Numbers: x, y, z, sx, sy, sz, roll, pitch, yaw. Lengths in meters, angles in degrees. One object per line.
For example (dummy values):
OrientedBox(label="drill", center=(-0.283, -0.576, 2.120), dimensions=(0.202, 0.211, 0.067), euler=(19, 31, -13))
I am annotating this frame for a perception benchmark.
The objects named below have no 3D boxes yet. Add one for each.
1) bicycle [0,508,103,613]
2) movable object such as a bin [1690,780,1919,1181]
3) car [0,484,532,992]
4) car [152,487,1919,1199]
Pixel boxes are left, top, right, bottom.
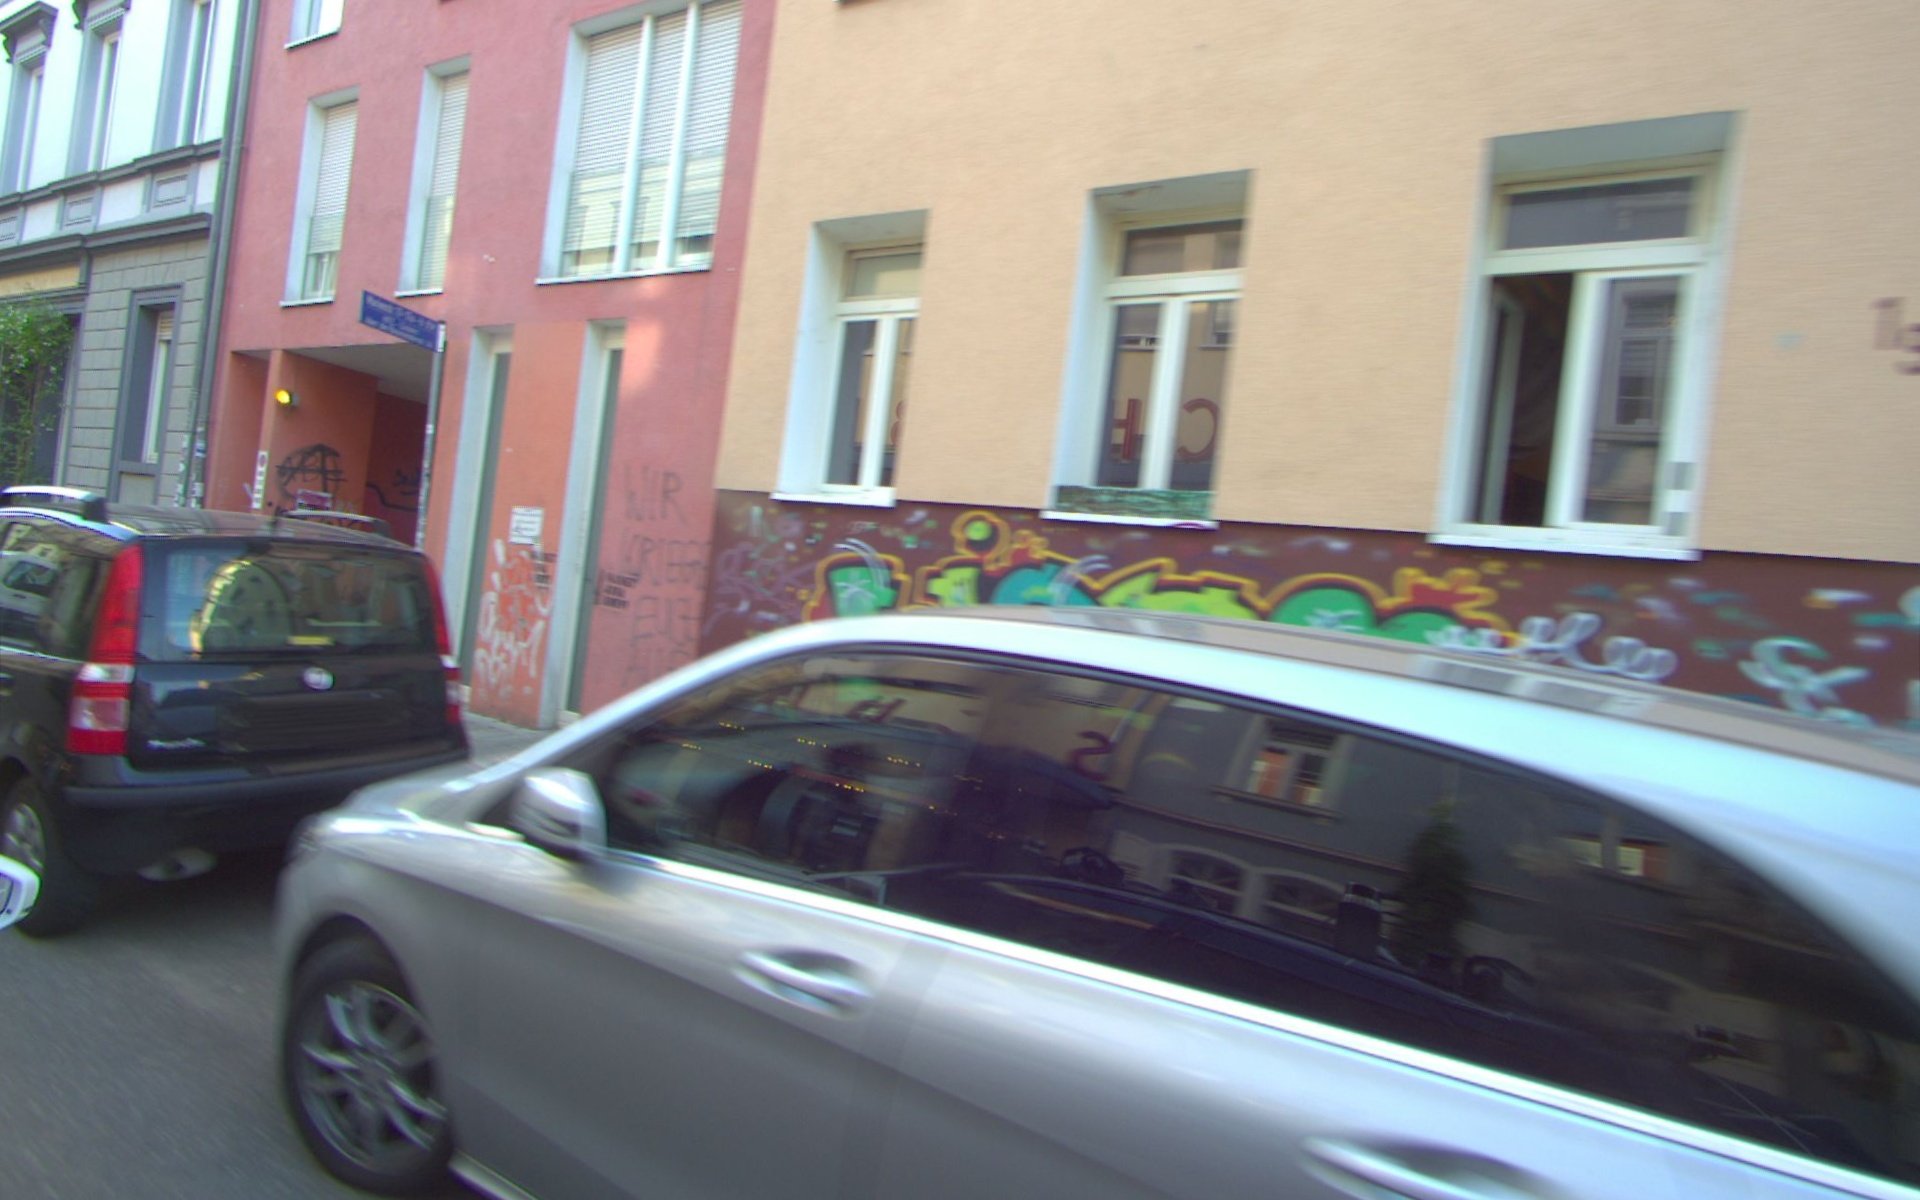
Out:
OrientedBox(label="bicycle", center=(-11.193, -0.495, 12.084), dimensions=(1.868, 1.112, 0.711), euler=(7, 2, 28))
OrientedBox(label="movable object such as a bin", center=(3.069, 1.261, 3.465), dimensions=(0.724, 1.072, 0.692), euler=(7, 3, 31))
OrientedBox(label="car", center=(-3.826, 0.320, 4.722), dimensions=(3.393, 1.560, 1.602), euler=(7, 2, 32))
OrientedBox(label="car", center=(0.021, 0.752, 2.459), dimensions=(4.102, 1.575, 1.748), euler=(7, 0, 32))
